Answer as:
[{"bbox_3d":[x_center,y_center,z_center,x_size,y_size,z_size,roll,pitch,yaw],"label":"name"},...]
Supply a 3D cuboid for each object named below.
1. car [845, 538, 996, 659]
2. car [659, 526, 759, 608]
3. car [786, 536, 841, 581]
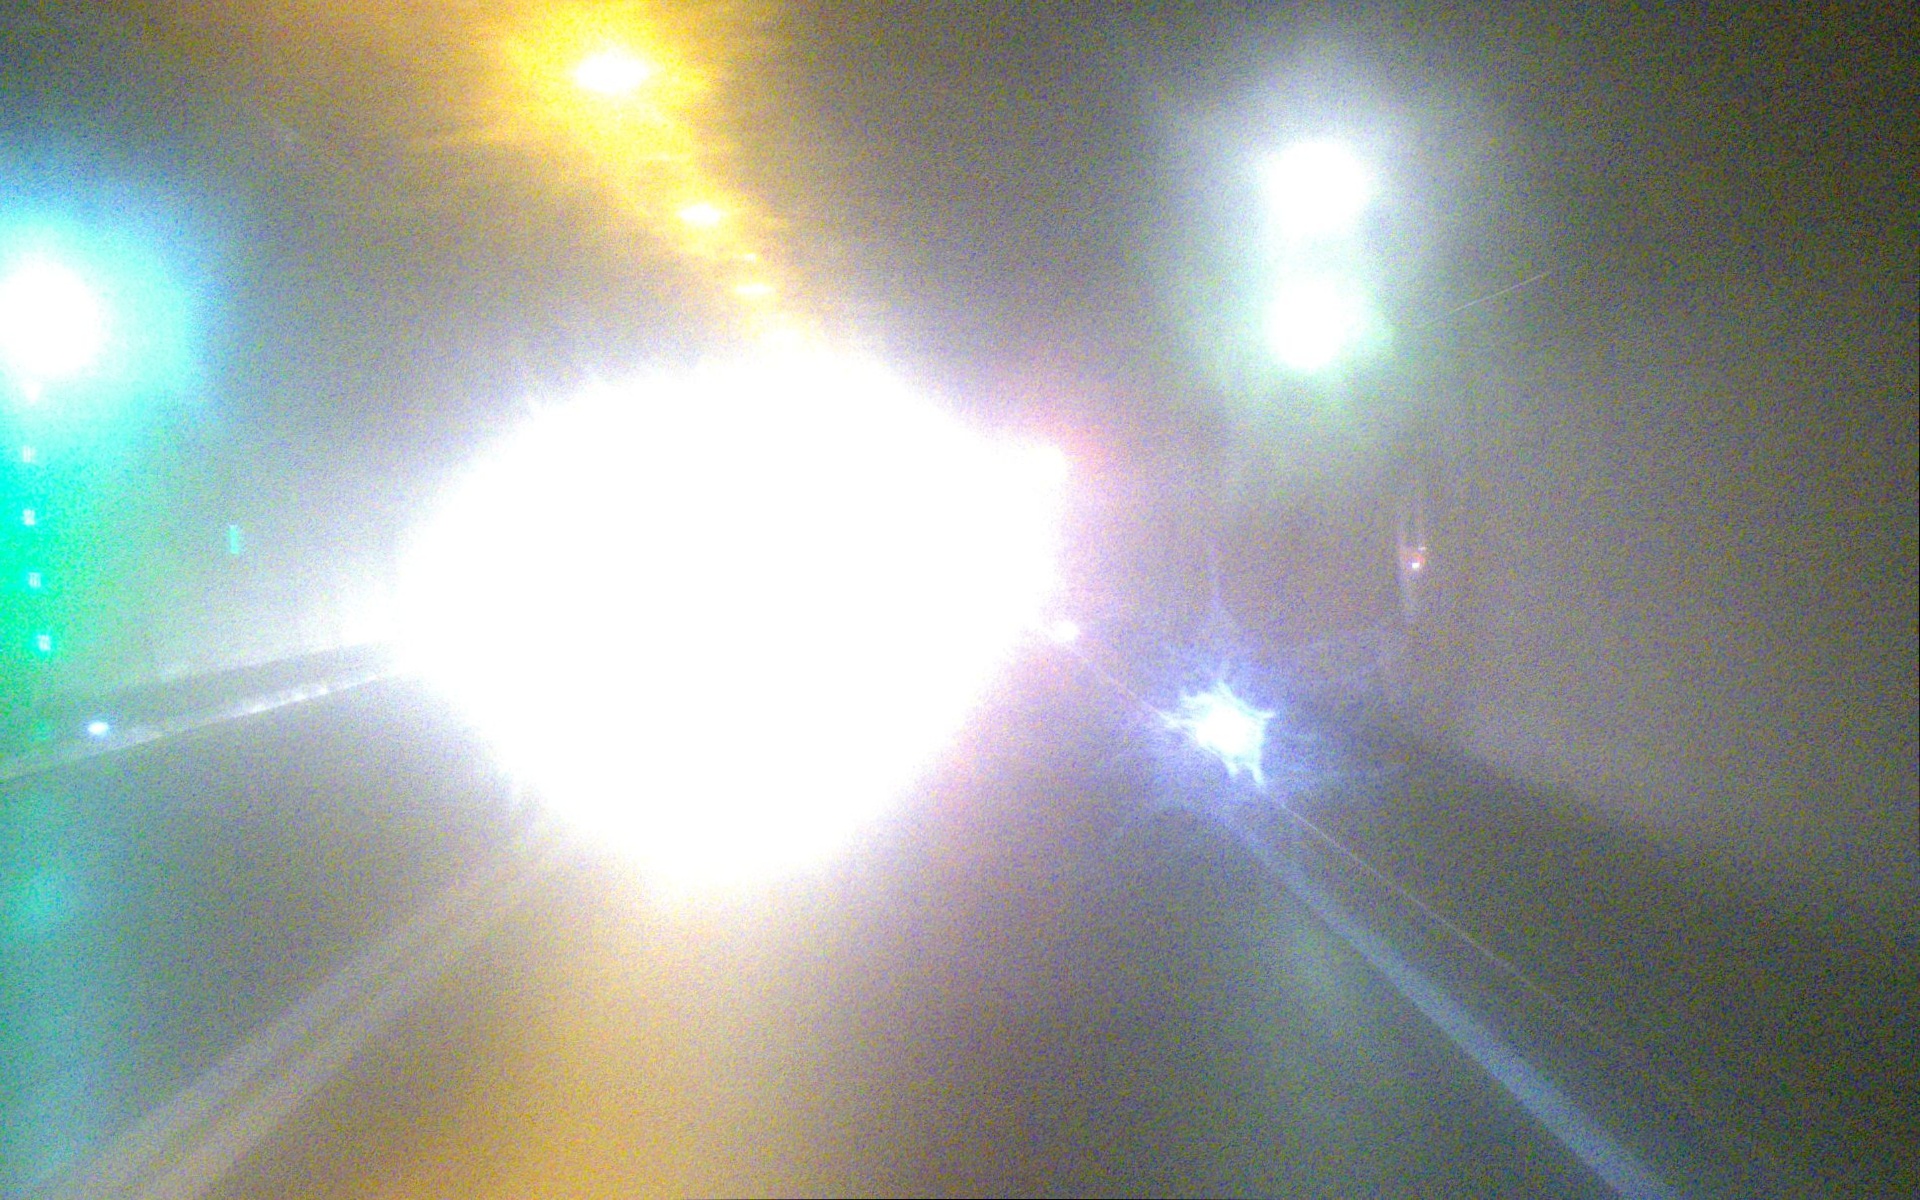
[{"bbox_3d":[-0.593,-0.046,49.459,2.089,1.656,4.000,0,1,-1],"label":"car"},{"bbox_3d":[-4.674,-0.631,64.441,1.690,1.500,3.745,0,1,-2],"label":"car"},{"bbox_3d":[-4.793,-1.377,112.867,1.710,1.457,3.575,0,1,-1],"label":"car"}]
